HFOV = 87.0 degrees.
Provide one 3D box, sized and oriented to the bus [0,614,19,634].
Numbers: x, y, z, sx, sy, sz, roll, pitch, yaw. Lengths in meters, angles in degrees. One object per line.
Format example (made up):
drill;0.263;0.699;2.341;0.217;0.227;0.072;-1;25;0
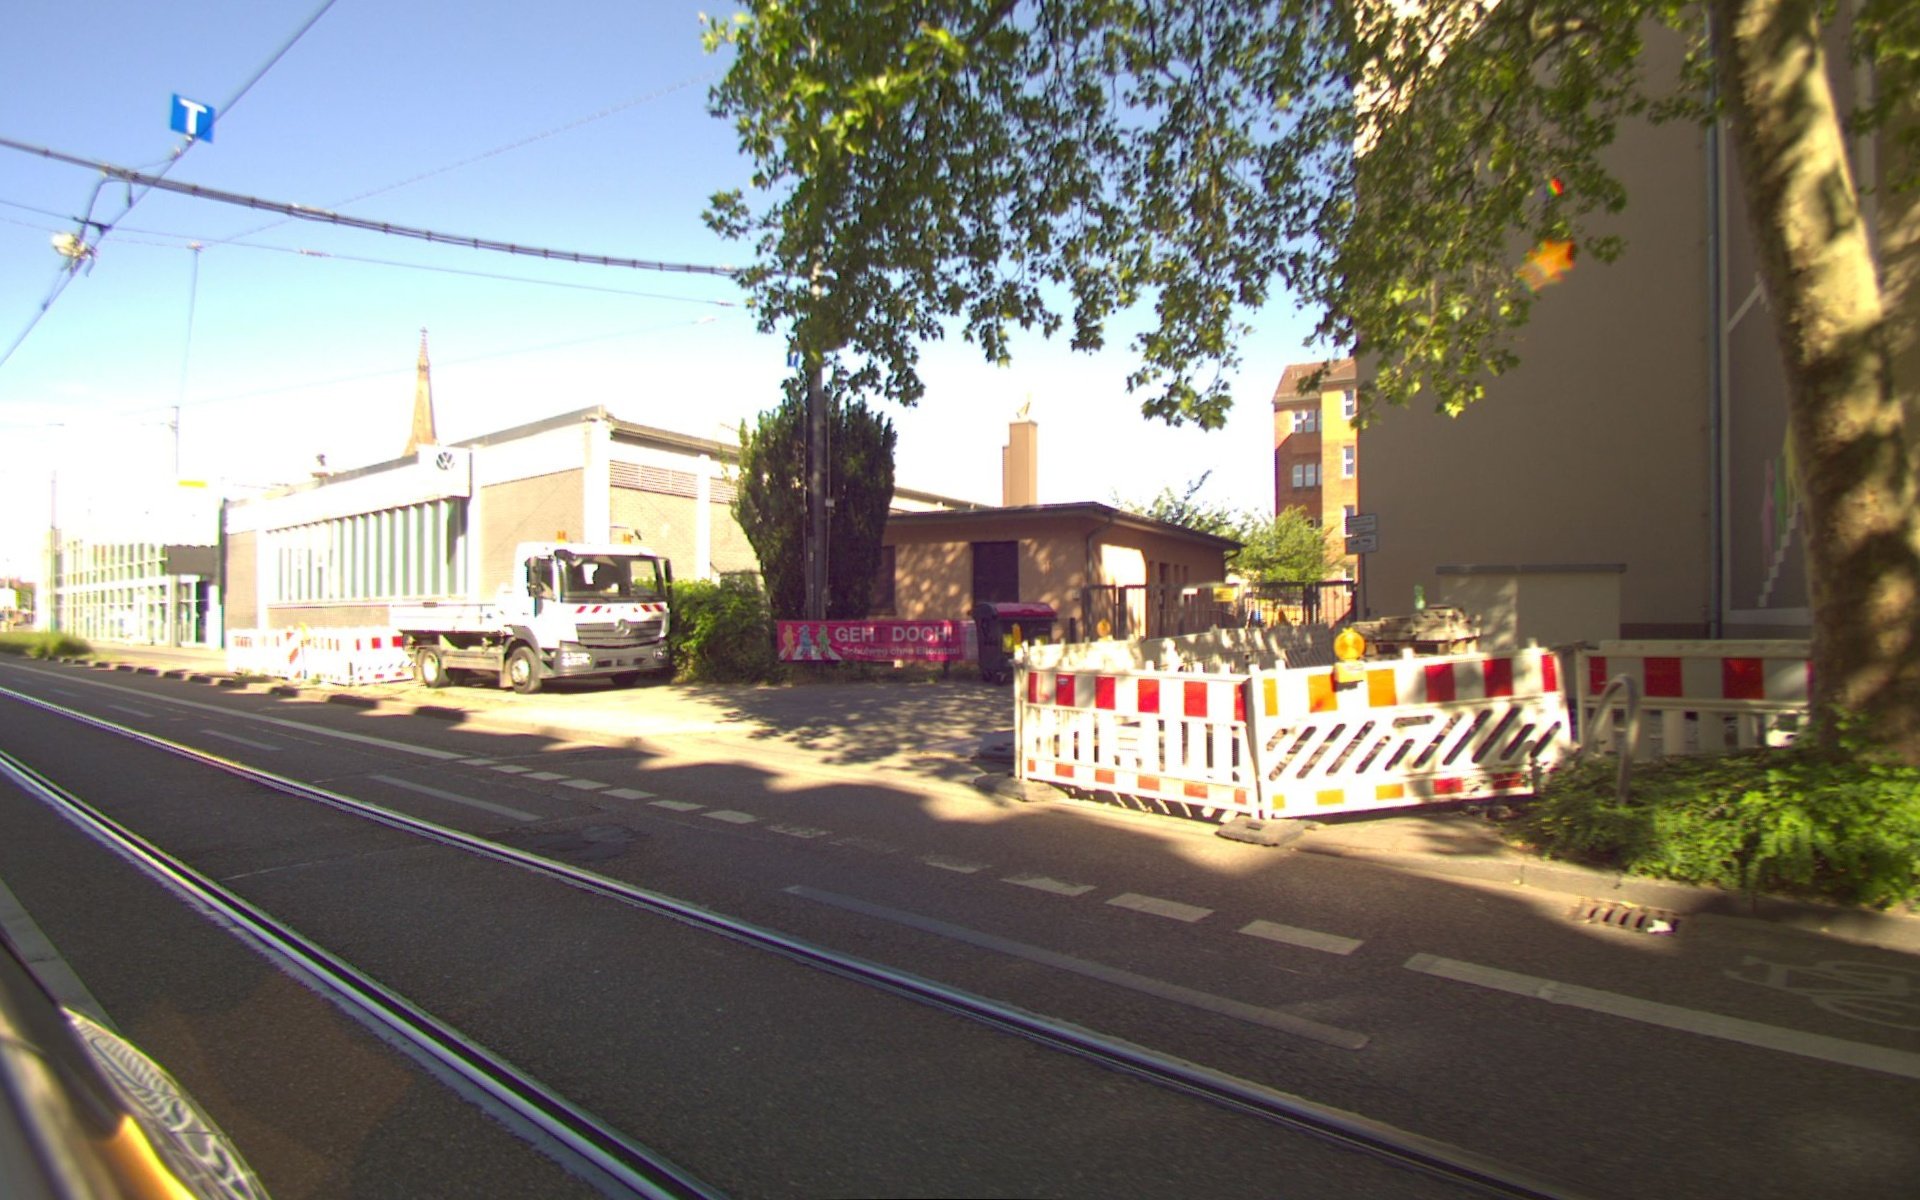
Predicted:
bus;-179.472;4.446;190.138;2.805;3.144;11.845;-1;2;-38

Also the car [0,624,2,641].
car;-99.544;3.322;103.825;1.778;1.732;4.420;2;-2;-44

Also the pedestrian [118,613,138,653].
pedestrian;-38.391;1.505;46.679;1.050;1.778;0.521;-1;0;40

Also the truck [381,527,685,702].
truck;-8.342;0.243;19.460;6.365;2.851;2.515;-1;0;37

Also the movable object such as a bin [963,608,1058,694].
movable object such as a bin;0.892;0.863;17.943;1.120;1.416;1.291;-1;0;-33
